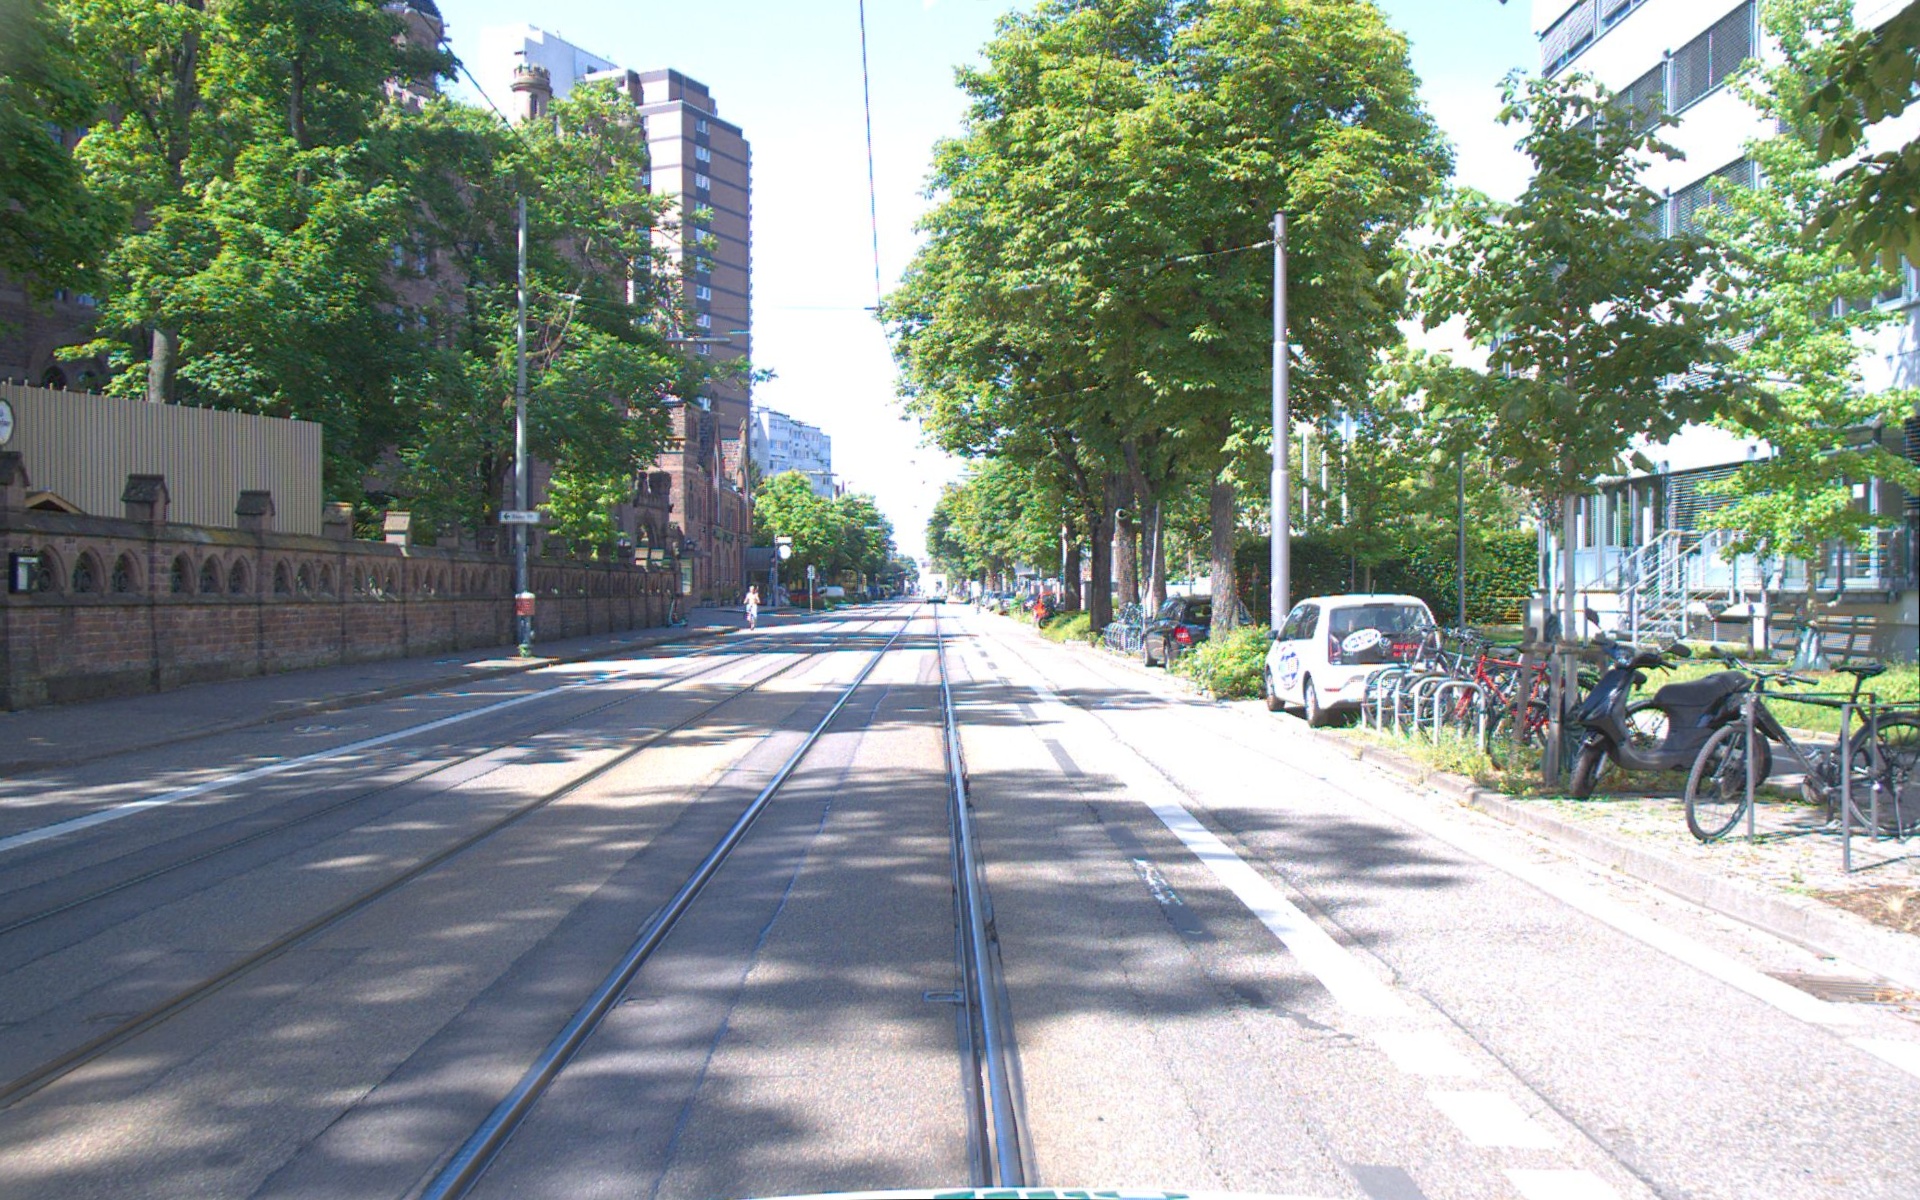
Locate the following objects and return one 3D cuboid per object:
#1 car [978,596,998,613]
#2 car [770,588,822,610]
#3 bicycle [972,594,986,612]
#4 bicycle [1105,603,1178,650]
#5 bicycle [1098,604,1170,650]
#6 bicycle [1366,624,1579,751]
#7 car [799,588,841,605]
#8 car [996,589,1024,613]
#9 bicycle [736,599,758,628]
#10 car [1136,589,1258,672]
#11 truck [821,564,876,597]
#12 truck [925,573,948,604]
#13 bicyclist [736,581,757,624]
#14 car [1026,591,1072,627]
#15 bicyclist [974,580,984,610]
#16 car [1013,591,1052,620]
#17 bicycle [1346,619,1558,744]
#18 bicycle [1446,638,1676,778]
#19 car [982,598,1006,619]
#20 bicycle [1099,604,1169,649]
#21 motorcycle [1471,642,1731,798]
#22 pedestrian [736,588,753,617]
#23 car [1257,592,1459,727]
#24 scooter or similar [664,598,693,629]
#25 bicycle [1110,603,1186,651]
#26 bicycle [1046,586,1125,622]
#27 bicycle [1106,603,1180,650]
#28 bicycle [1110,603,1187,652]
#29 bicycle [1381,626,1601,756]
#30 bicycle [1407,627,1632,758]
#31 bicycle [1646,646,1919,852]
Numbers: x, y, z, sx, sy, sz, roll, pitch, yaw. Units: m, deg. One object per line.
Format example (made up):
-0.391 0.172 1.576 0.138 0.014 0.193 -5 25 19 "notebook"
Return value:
2.461 0.374 146.518 1.597 1.498 4.113 0 0 -1 "car"
-13.724 -0.100 138.514 3.959 1.842 1.864 0 0 -38 "car"
1.192 0.169 103.667 0.838 1.129 2.139 0 0 -2 "bicycle"
4.388 0.629 40.018 1.689 1.105 0.589 0 0 -2 "bicycle"
4.313 0.659 41.073 1.689 1.105 0.614 0 0 -2 "bicycle"
4.908 0.824 15.905 1.835 1.161 0.686 0 0 -2 "bicycle"
-14.519 -0.337 171.470 3.947 1.780 1.979 0 0 -32 "car"
3.111 0.047 103.021 1.596 1.498 4.113 0 0 -1 "car"
-8.662 0.537 67.356 0.649 1.174 2.014 0 0 -1 "bicycle"
4.577 0.543 32.542 1.597 1.509 4.271 0 0 -3 "car"
-13.431 -2.298 200.251 2.755 3.927 10.001 0 0 21 "truck"
-2.521 -1.211 172.894 2.354 3.163 6.036 0 0 -1 "truck"
-8.673 0.109 67.306 0.710 1.728 1.146 0 0 -2 "bicyclist"
3.825 0.378 71.494 1.597 1.498 3.717 0 0 -3 "car"
1.199 -0.323 103.971 0.623 1.904 1.024 0 0 -2 "bicyclist"
3.544 0.266 81.344 1.597 1.378 3.899 0 0 -3 "car"
4.900 0.799 16.552 1.865 1.190 0.819 0 0 -2 "bicycle"
5.000 0.884 13.814 1.689 1.105 0.639 0 0 -2 "bicycle"
2.474 0.632 120.898 1.597 1.498 4.113 0 0 -1 "car"
4.373 0.654 41.648 1.689 1.105 0.478 0 0 -2 "bicycle"
4.785 0.883 12.406 1.689 1.105 0.658 0 0 -2 "motorcycle"
-11.415 0.148 87.671 0.867 1.538 1.472 0 0 -10 "pedestrian"
4.754 0.656 20.219 1.596 1.498 3.630 0 0 0 "car"
-10.774 0.515 63.323 0.327 1.149 1.181 0 0 38 "scooter or similar"
4.398 0.630 38.802 1.689 1.105 0.696 0 0 -2 "bicycle"
4.720 0.141 62.437 2.965 1.355 1.041 0 0 2 "bicycle"
4.367 0.625 39.435 1.689 1.105 0.570 0 0 -2 "bicycle"
4.341 0.627 38.142 1.689 1.105 0.628 0 0 -2 "bicycle"
4.903 0.829 15.332 1.811 1.151 0.680 0 0 -2 "bicycle"
4.949 0.807 14.699 1.756 1.105 0.726 0 0 -2 "bicycle"
5.004 0.840 9.629 1.689 1.105 0.789 0 0 -2 "bicycle"
